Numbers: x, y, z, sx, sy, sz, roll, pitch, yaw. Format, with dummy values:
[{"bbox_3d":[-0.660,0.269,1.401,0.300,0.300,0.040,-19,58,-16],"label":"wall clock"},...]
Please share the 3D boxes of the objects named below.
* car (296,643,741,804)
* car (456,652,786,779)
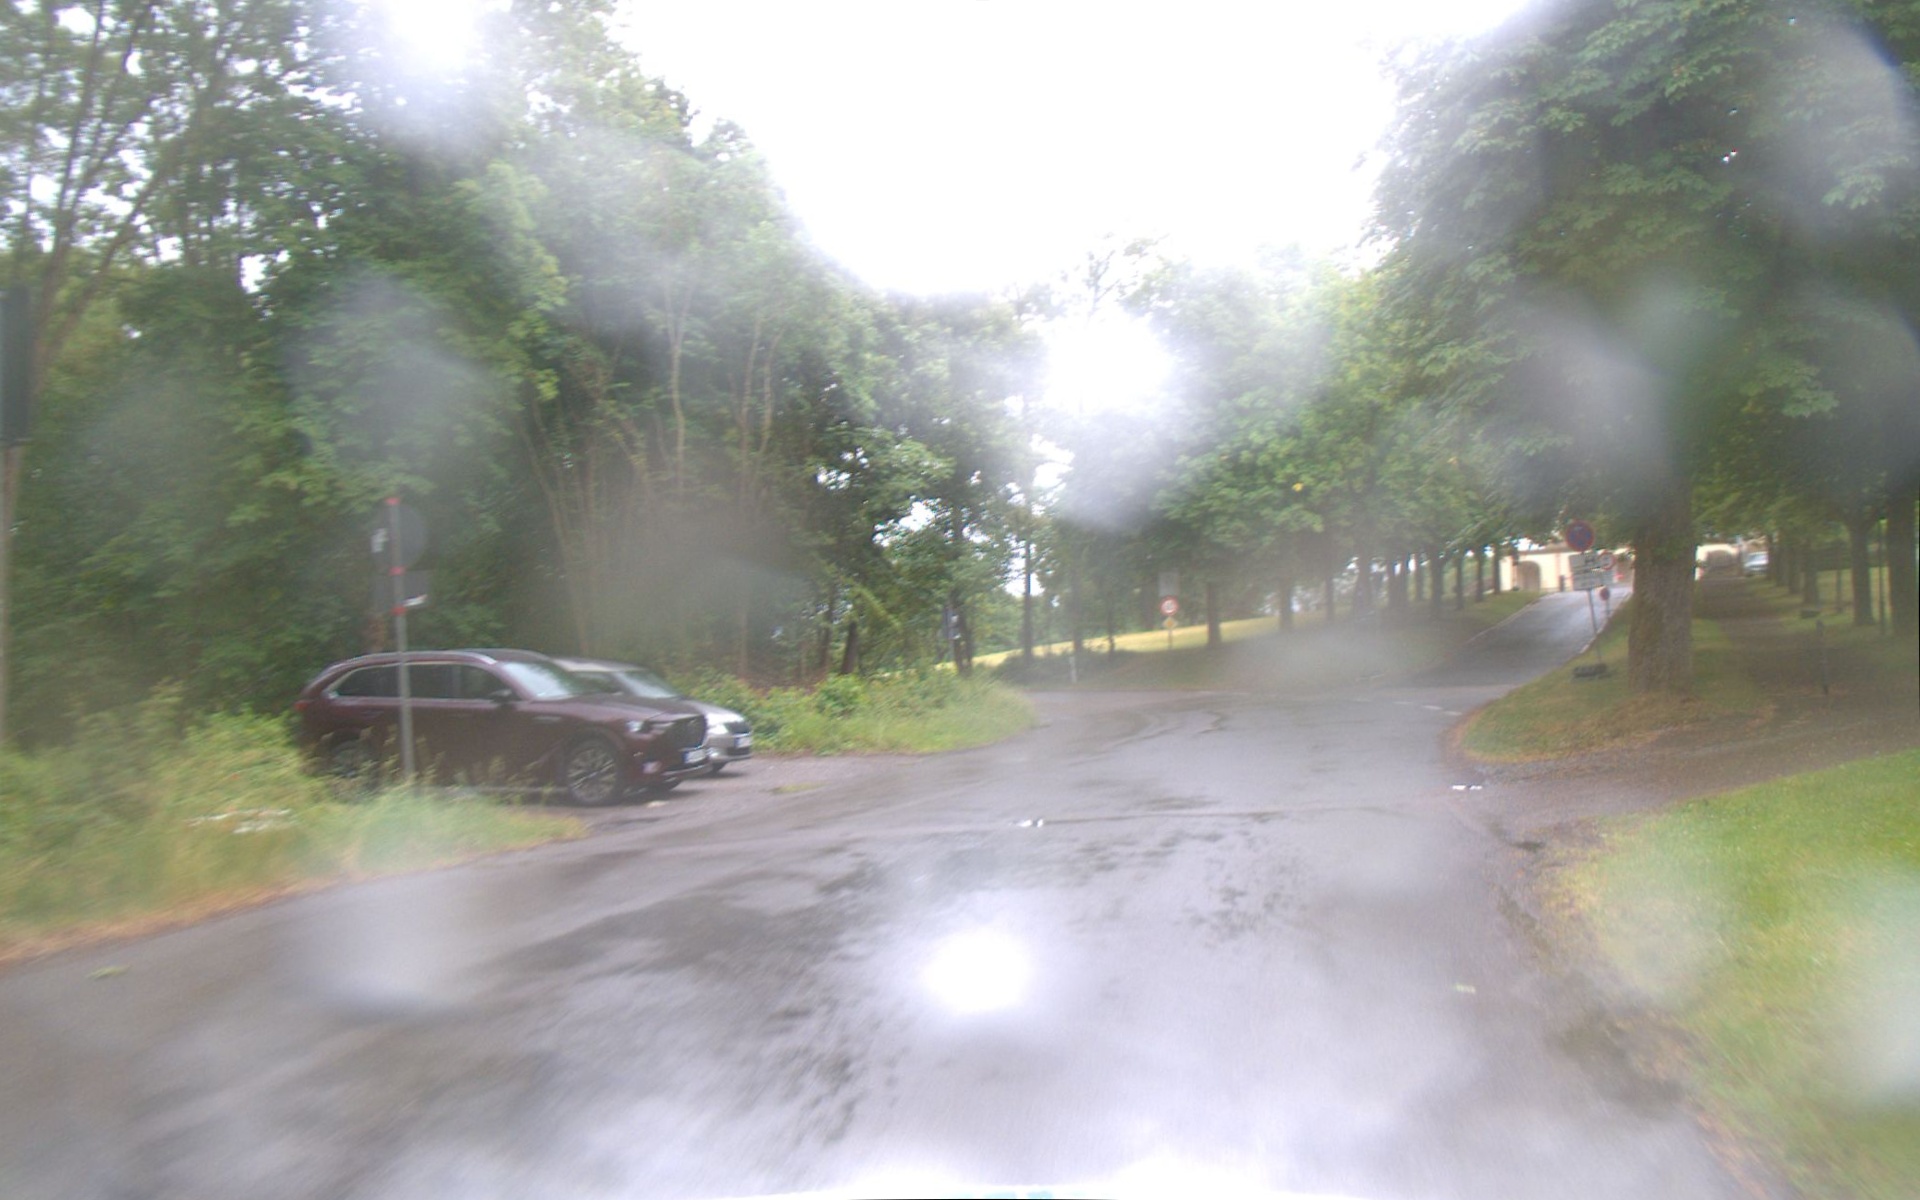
[{"bbox_3d":[-5.149,1.411,19.416,4.722,1.707,1.877,-1,-1,15],"label":"car"},{"bbox_3d":[-4.600,1.551,22.582,4.048,1.582,1.775,-1,-1,17],"label":"car"}]
